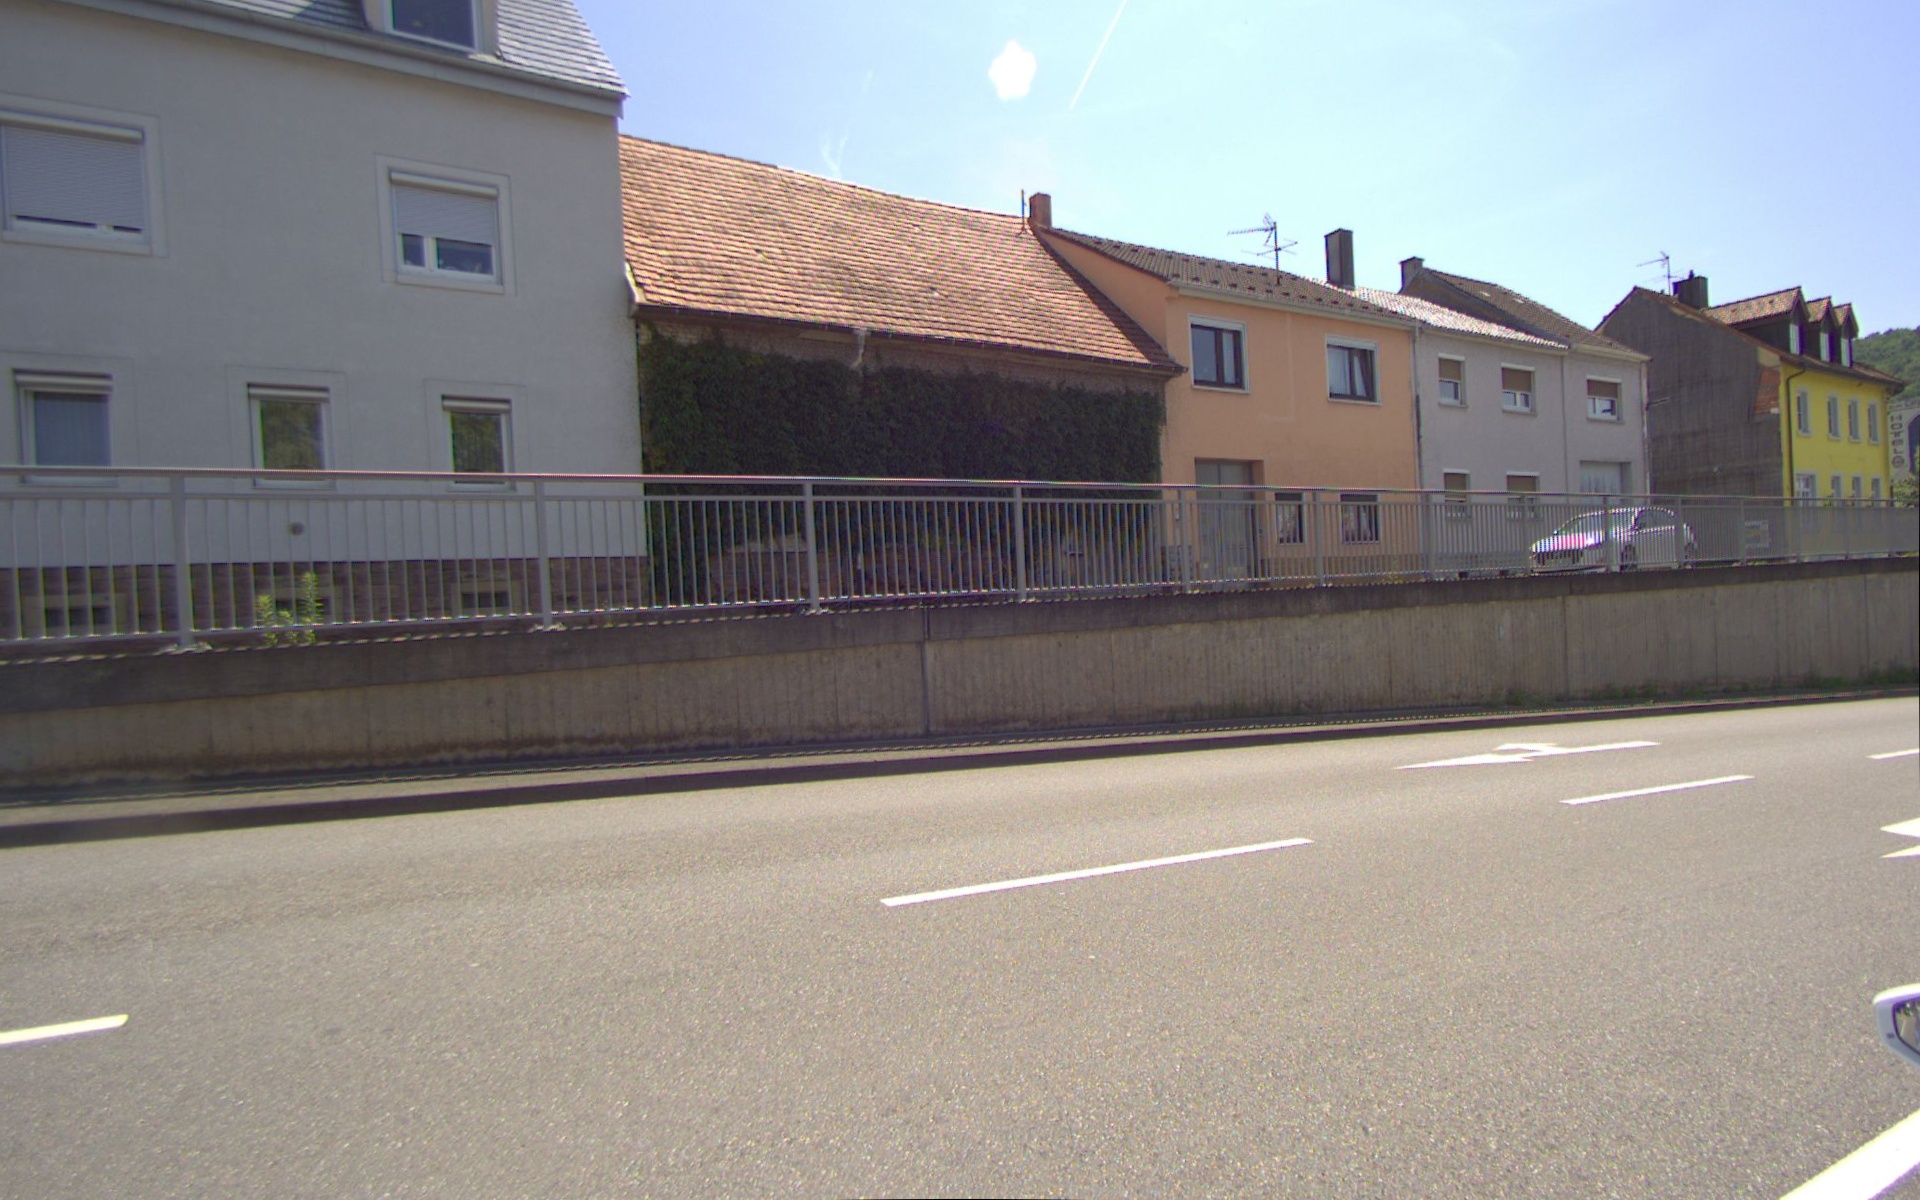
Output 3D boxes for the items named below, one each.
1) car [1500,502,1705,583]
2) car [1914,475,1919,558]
[{"bbox_3d":[13.113,-1.165,20.437,4.259,1.482,1.804,-3,2,-31],"label":"car"},{"bbox_3d":[32.508,-2.688,31.613,5.591,2.571,2.056,-3,2,-29],"label":"car"}]
